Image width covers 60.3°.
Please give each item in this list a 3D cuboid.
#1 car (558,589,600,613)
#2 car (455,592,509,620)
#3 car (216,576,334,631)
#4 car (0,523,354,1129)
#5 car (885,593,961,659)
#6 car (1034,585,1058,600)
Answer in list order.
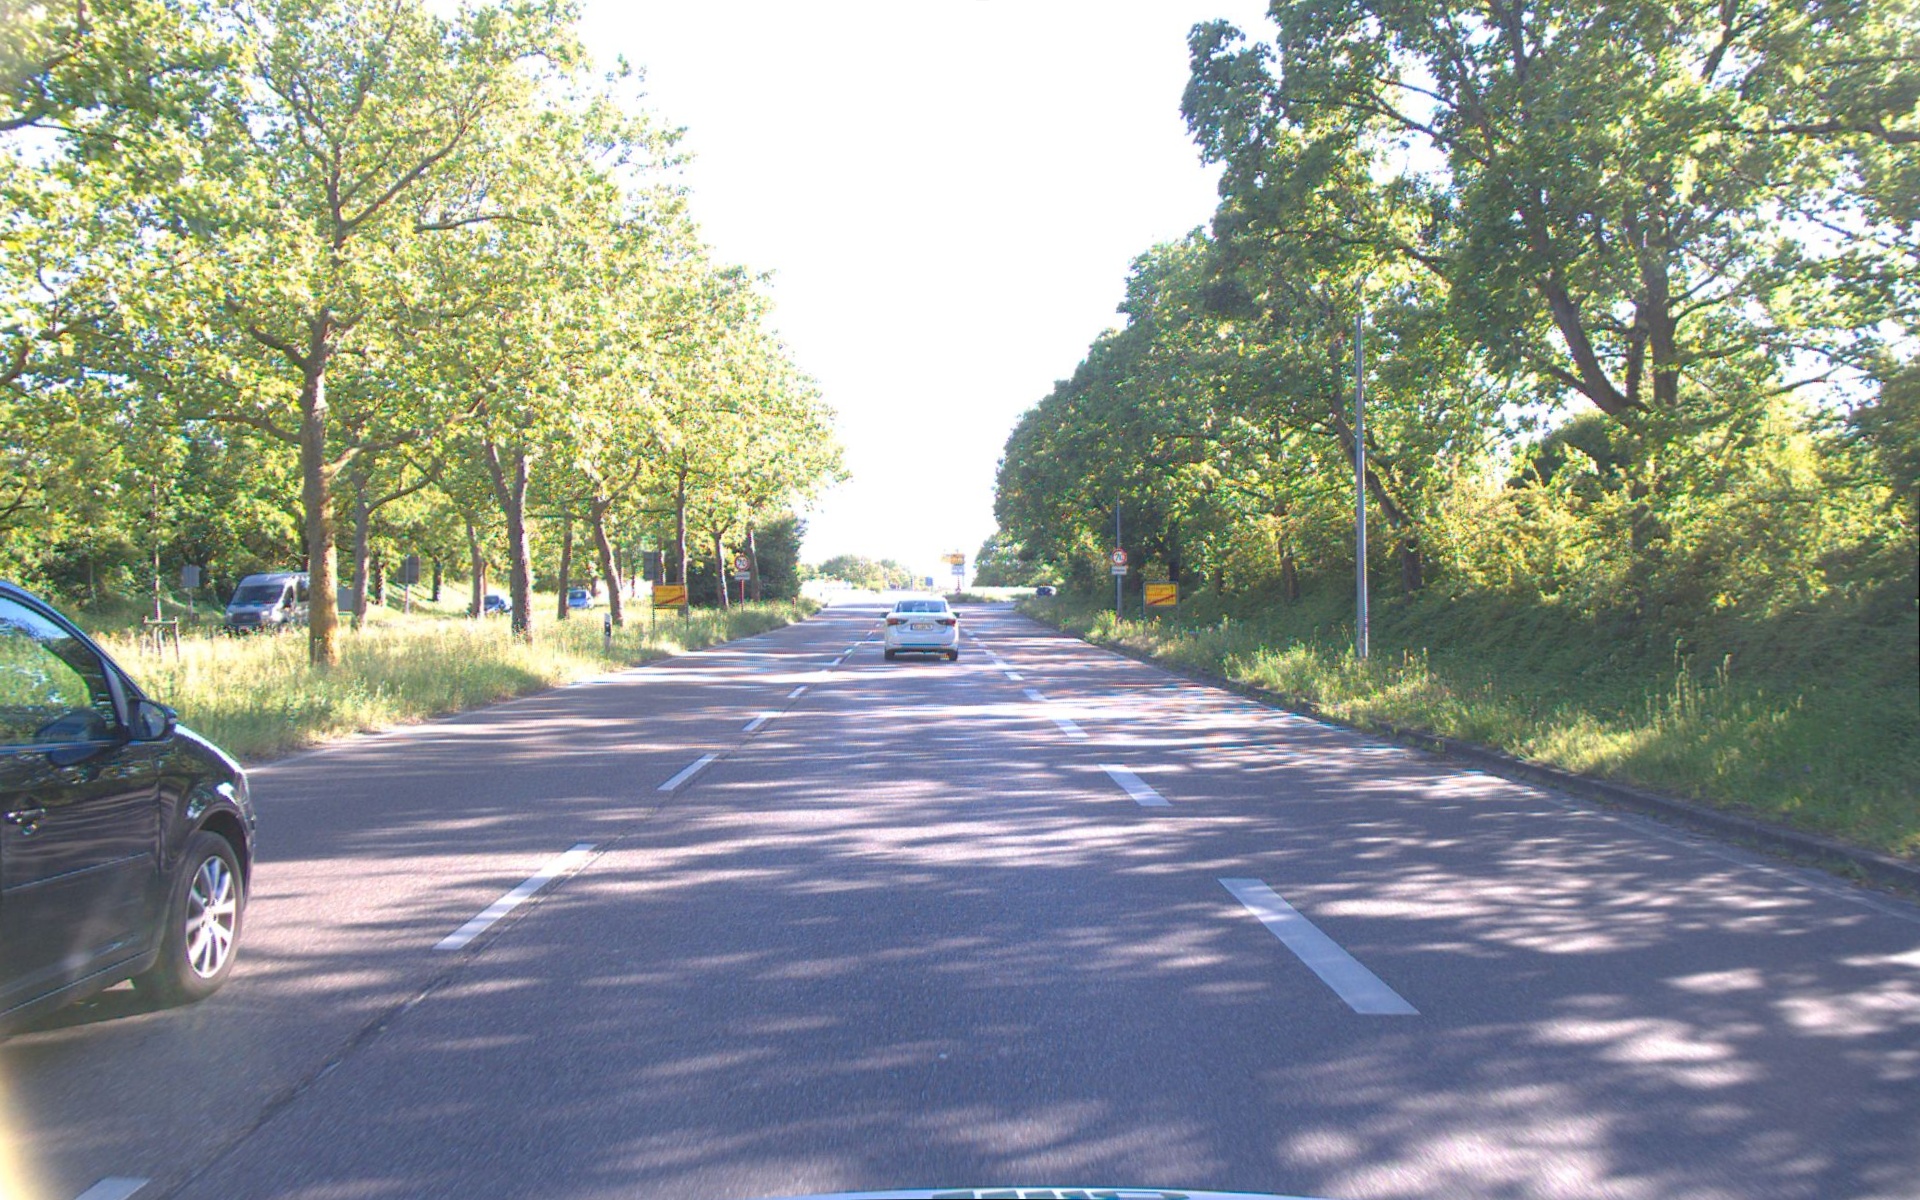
[{"bbox_3d":[-24.461,0.018,106.300,1.732,1.489,4.365,-1,0,-1],"label":"car"},{"bbox_3d":[-25.971,0.305,89.950,1.732,1.489,4.365,-1,0,-1],"label":"car"},{"bbox_3d":[-25.488,0.103,61.776,2.091,1.935,5.740,-1,0,-1],"label":"car"},{"bbox_3d":[-3.513,0.614,4.821,1.731,1.673,4.922,1,0,-1],"label":"car"},{"bbox_3d":[-0.905,0.598,40.317,1.732,1.489,4.365,-1,0,-2],"label":"car"},{"bbox_3d":[8.372,-0.725,161.246,1.730,1.489,4.370,-1,0,11],"label":"car"}]
